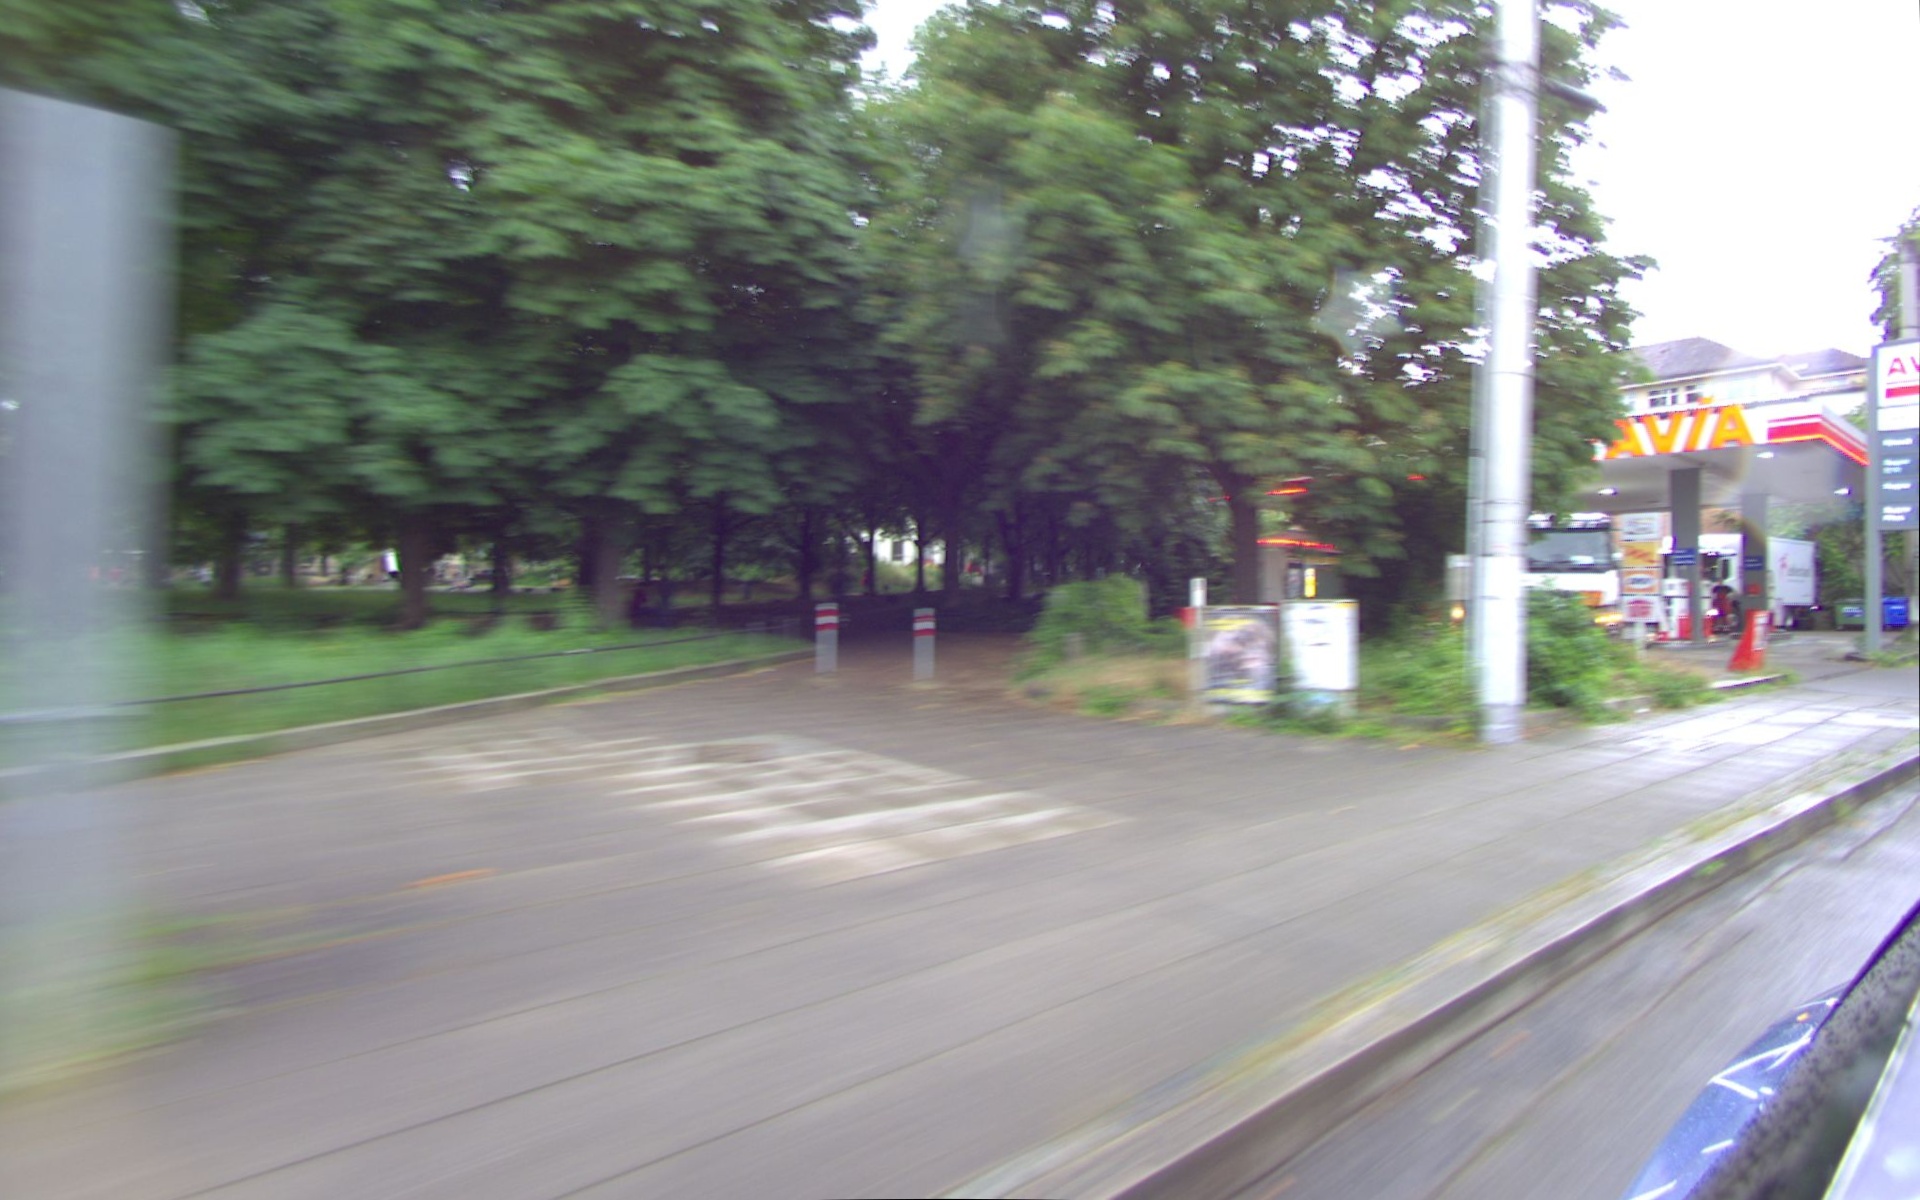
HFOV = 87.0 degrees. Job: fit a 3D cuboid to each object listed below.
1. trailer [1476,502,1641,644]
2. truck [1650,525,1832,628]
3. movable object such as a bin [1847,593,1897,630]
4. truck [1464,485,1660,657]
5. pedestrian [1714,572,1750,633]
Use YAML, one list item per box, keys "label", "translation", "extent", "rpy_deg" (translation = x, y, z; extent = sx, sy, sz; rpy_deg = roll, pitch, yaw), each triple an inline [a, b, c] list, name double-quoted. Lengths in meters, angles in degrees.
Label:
- label: "trailer"
  translation: [17.481, -0.797, 29.166]
  extent: [2.799, 3.438, 9.700]
  rpy_deg: [1, 2, 38]
- label: "truck"
  translation: [30.542, -0.937, 39.371]
  extent: [10.060, 3.613, 2.663]
  rpy_deg: [-1, 2, -35]
- label: "movable object such as a bin"
  translation: [36.353, 0.430, 40.344]
  extent: [1.053, 1.418, 1.287]
  rpy_deg: [0, 2, -36]
- label: "truck"
  translation: [13.694, -0.678, 23.572]
  extent: [2.803, 3.441, 6.085]
  rpy_deg: [1, 2, 20]
- label: "pedestrian"
  translation: [26.684, 0.080, 34.981]
  extent: [0.639, 2.066, 0.810]
  rpy_deg: [0, 1, -38]
